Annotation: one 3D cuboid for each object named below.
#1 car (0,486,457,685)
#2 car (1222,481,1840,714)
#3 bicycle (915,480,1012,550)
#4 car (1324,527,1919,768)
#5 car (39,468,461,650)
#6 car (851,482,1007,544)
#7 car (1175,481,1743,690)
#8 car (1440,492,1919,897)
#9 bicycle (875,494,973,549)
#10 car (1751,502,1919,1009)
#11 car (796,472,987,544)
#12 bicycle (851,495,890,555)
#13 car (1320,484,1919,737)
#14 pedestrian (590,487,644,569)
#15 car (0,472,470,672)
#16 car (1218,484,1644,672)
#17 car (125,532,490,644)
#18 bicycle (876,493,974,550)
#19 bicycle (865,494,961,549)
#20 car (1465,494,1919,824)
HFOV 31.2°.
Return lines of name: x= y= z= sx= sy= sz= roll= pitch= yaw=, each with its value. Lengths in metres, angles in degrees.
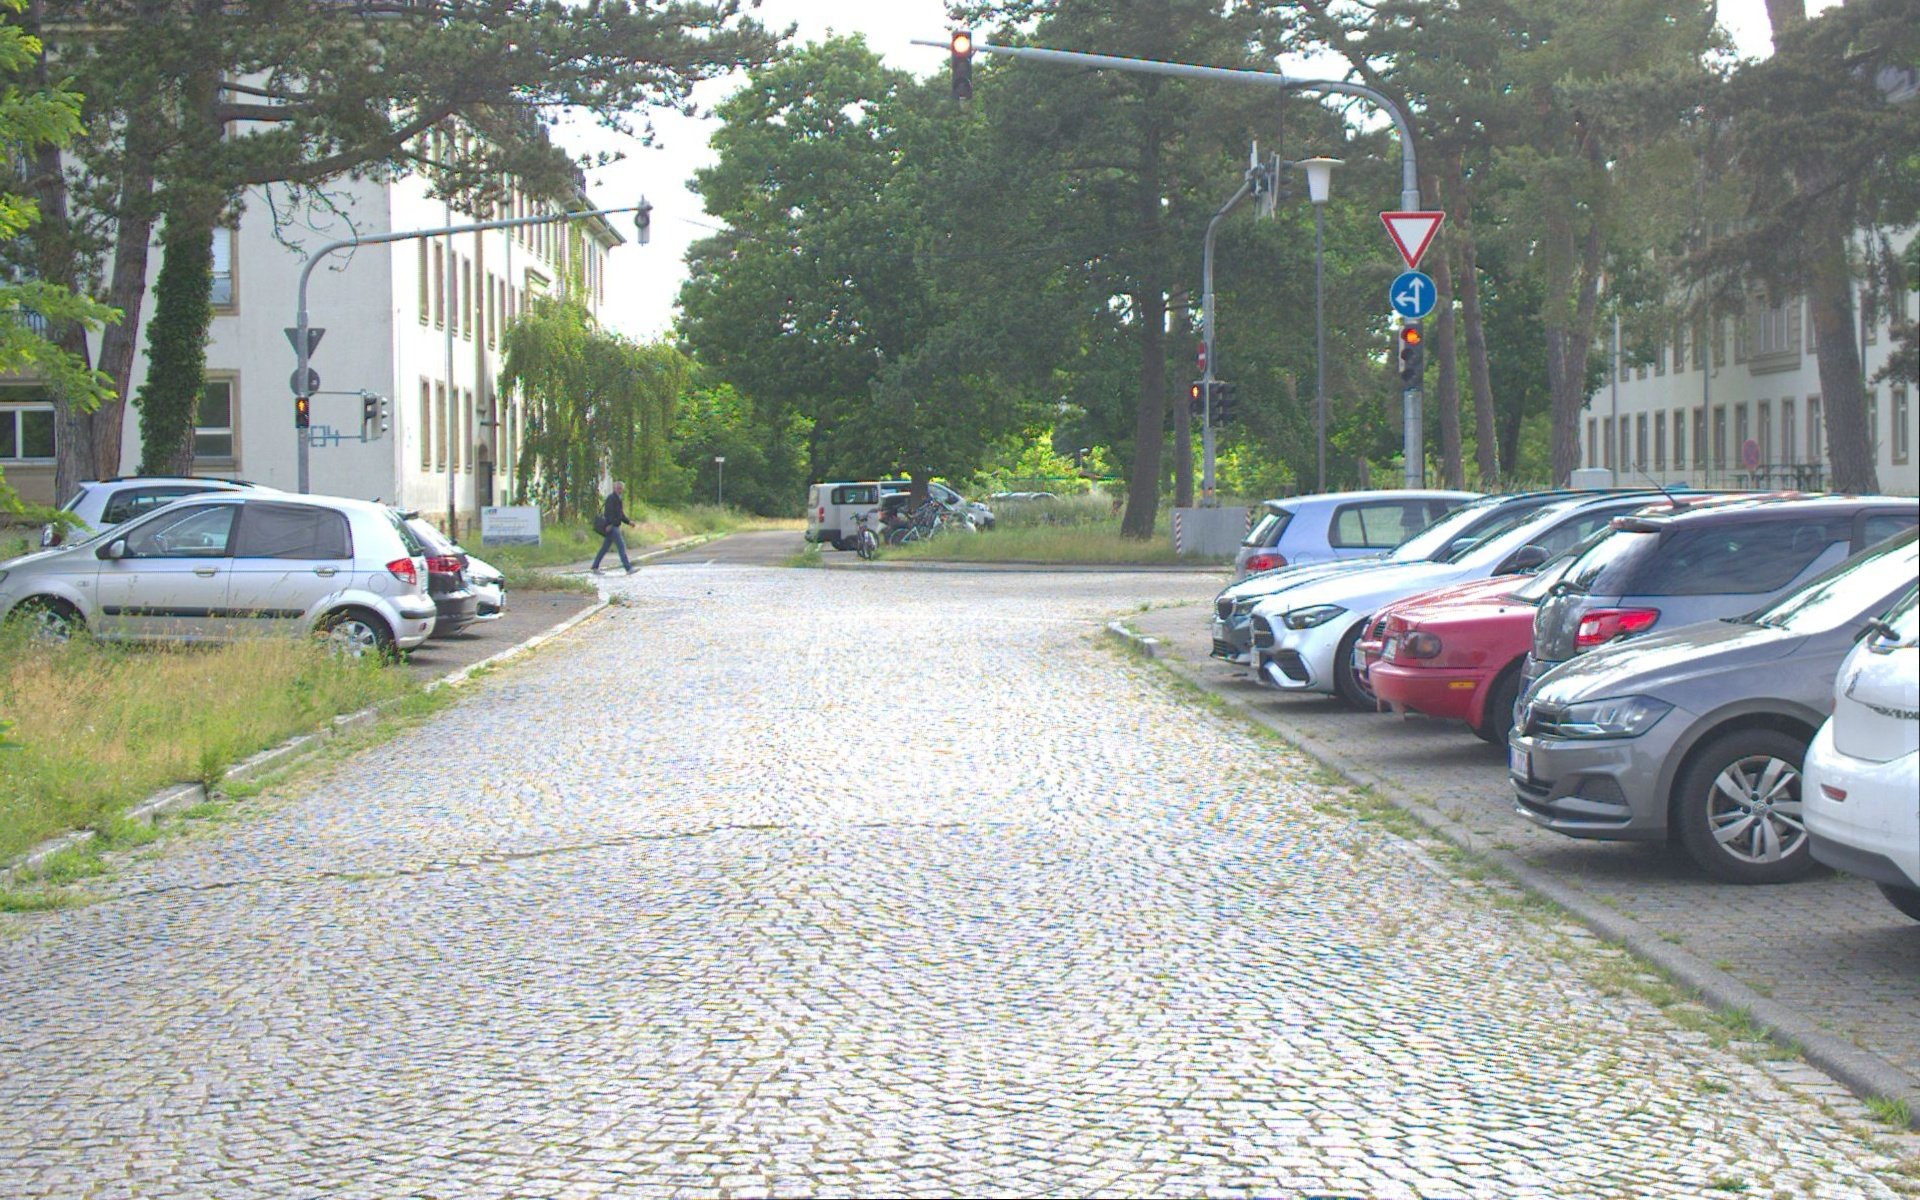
car: x=-6.214 y=-0.151 z=28.574 sx=3.986 sy=1.546 sz=2.001 roll=-1 pitch=2 yaw=-8
car: x=3.974 y=-0.054 z=24.240 sx=3.986 sy=1.538 sz=1.665 roll=-1 pitch=2 yaw=-7
bicycle: x=0.080 y=-1.986 z=79.800 sx=2.160 sy=1.610 sz=0.813 roll=0 pitch=2 yaw=-8
car: x=3.896 y=0.238 z=19.761 sx=3.291 sy=1.263 sz=1.665 roll=-1 pitch=2 yaw=-7
car: x=-6.968 y=-0.438 z=34.114 sx=3.986 sy=1.744 sz=1.928 roll=0 pitch=2 yaw=-8
car: x=-0.859 y=-2.369 z=93.028 sx=3.986 sy=1.638 sz=2.001 roll=0 pitch=2 yaw=-7
car: x=3.881 y=-0.147 z=27.052 sx=4.122 sy=1.538 sz=1.665 roll=-1 pitch=2 yaw=-7
car: x=3.975 y=0.315 z=14.167 sx=3.597 sy=1.501 sz=1.665 roll=-1 pitch=2 yaw=-12
bicycle: x=-0.829 y=-1.810 z=79.073 sx=2.160 sy=1.264 sz=0.813 roll=0 pitch=2 yaw=-8
car: x=4.442 y=0.429 z=11.207 sx=3.292 sy=1.499 sz=1.664 roll=-1 pitch=2 yaw=-4
car: x=-1.926 y=-2.585 z=96.276 sx=5.049 sy=2.006 sz=2.001 roll=0 pitch=2 yaw=-12
bicycle: x=-1.947 y=-1.635 z=74.701 sx=0.810 sy=1.264 sz=1.973 roll=0 pitch=2 yaw=-1
car: x=4.449 y=0.030 z=22.018 sx=3.986 sy=1.538 sz=1.664 roll=0 pitch=2 yaw=-7
pedestrian: x=-6.269 y=-1.322 z=62.895 sx=0.898 sy=1.493 sz=0.904 roll=0 pitch=2 yaw=-1
car: x=-6.462 y=-0.288 z=31.052 sx=3.986 sy=1.700 sz=2.001 roll=-1 pitch=2 yaw=-8
car: x=4.030 y=-0.216 z=29.625 sx=3.388 sy=1.538 sz=1.391 roll=-1 pitch=2 yaw=-7
car: x=-6.812 y=-0.144 z=36.177 sx=3.670 sy=1.090 sz=1.647 roll=-1 pitch=2 yaw=-8
bicycle: x=-0.807 y=-1.798 z=78.486 sx=2.160 sy=1.264 sz=0.813 roll=0 pitch=2 yaw=-8
bicycle: x=-1.104 y=-1.839 z=80.280 sx=2.160 sy=1.264 sz=0.813 roll=0 pitch=2 yaw=-8
car: x=4.360 y=0.234 z=17.055 sx=3.291 sy=1.499 sz=1.665 roll=-1 pitch=2 yaw=-12
